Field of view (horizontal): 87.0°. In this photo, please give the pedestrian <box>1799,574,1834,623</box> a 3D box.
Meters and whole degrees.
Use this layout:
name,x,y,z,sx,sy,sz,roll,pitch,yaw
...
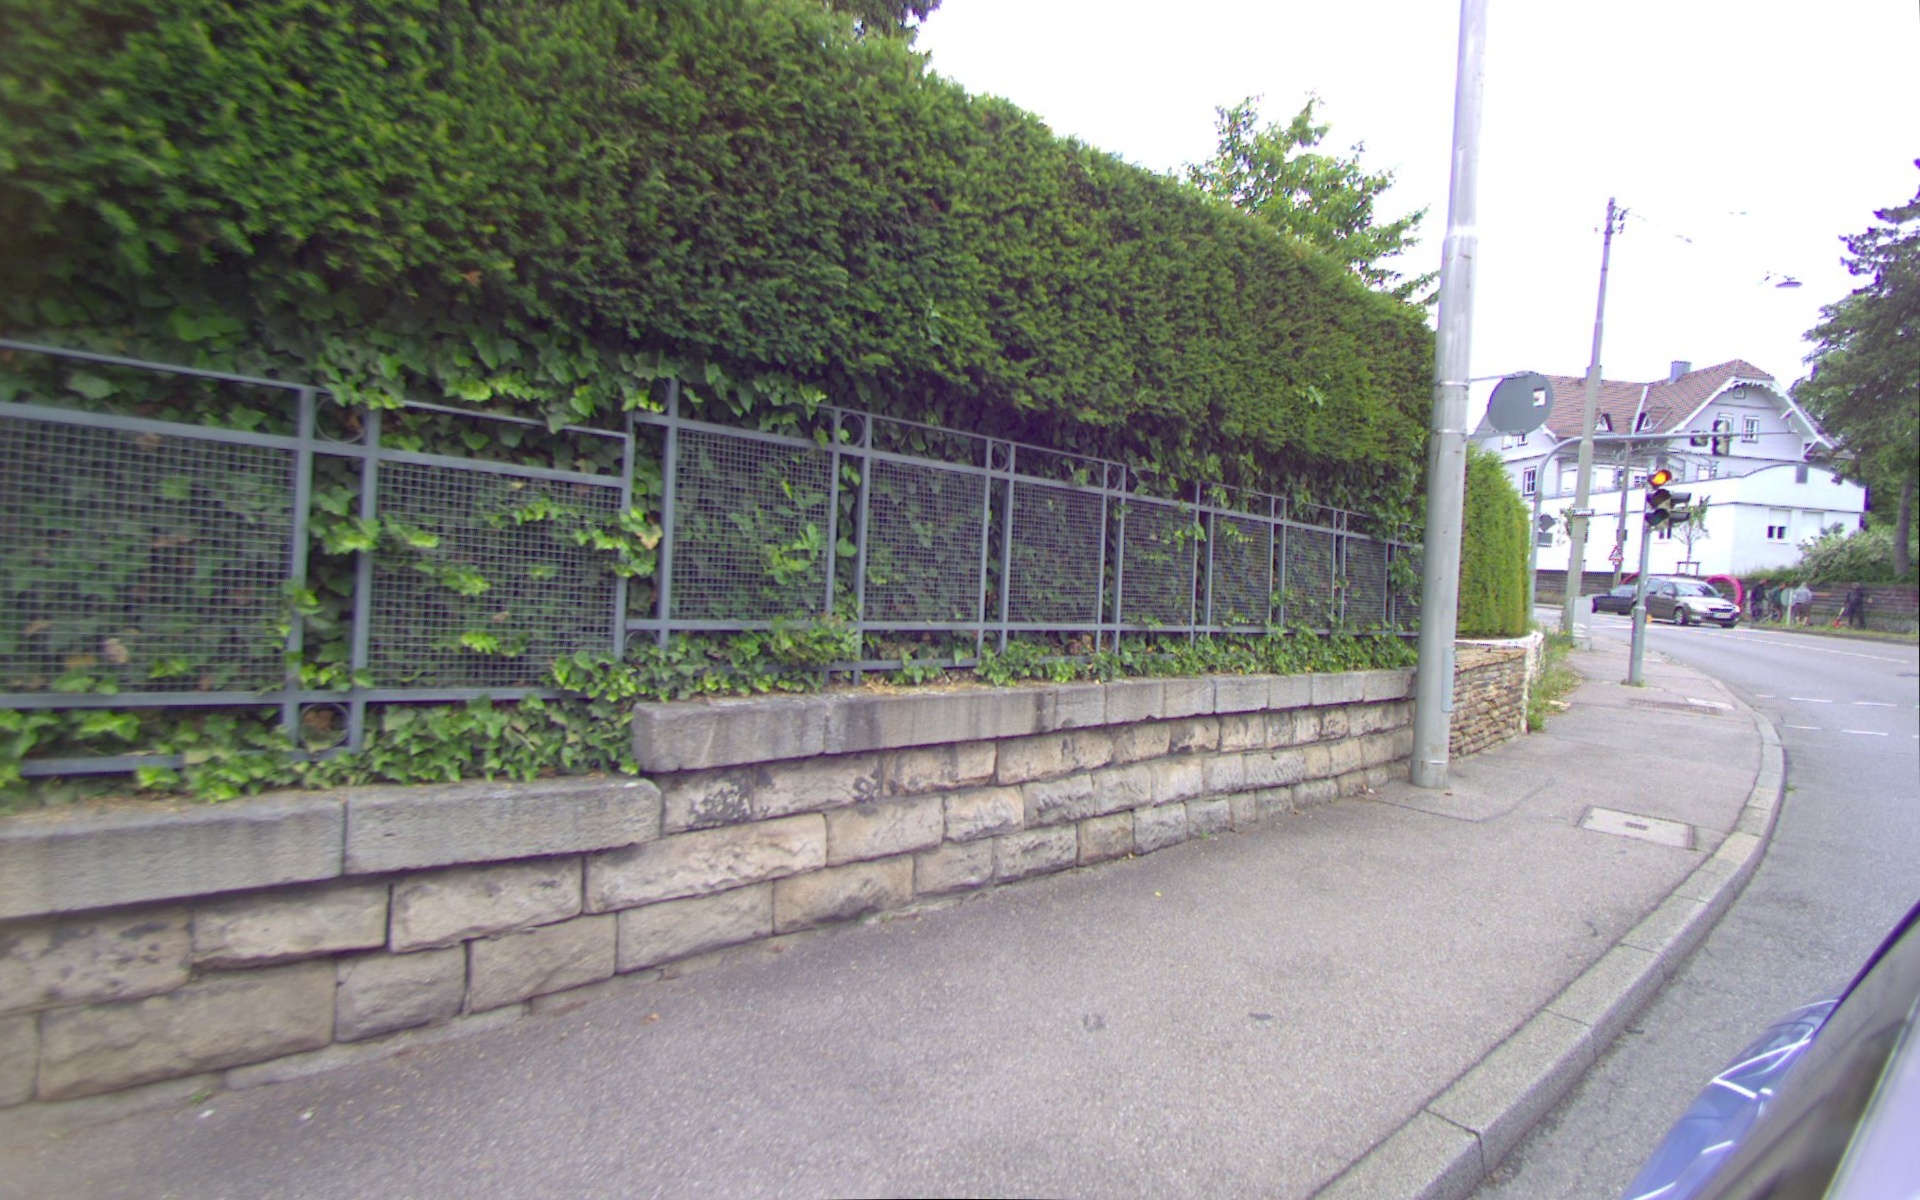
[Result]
name,x,y,z,sx,sy,sz,roll,pitch,yaw
pedestrian,32.410,-0.059,38.307,0.600,1.809,0.668,3,2,-10

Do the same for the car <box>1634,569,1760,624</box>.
name,x,y,z,sx,sy,sz,roll,pitch,yaw
car,24.453,-0.168,33.752,1.591,1.599,3.995,2,3,7

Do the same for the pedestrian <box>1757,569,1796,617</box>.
name,x,y,z,sx,sy,sz,roll,pitch,yaw
pedestrian,32.325,-0.284,40.091,0.862,1.836,0.689,2,2,-10

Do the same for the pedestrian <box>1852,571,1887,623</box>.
name,x,y,z,sx,sy,sz,roll,pitch,yaw
pedestrian,33.825,-0.125,37.628,0.591,1.857,0.614,3,2,-11

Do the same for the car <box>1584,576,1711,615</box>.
name,x,y,z,sx,sy,sz,roll,pitch,yaw
car,29.285,-0.240,43.312,1.816,1.344,4.875,2,3,-4
